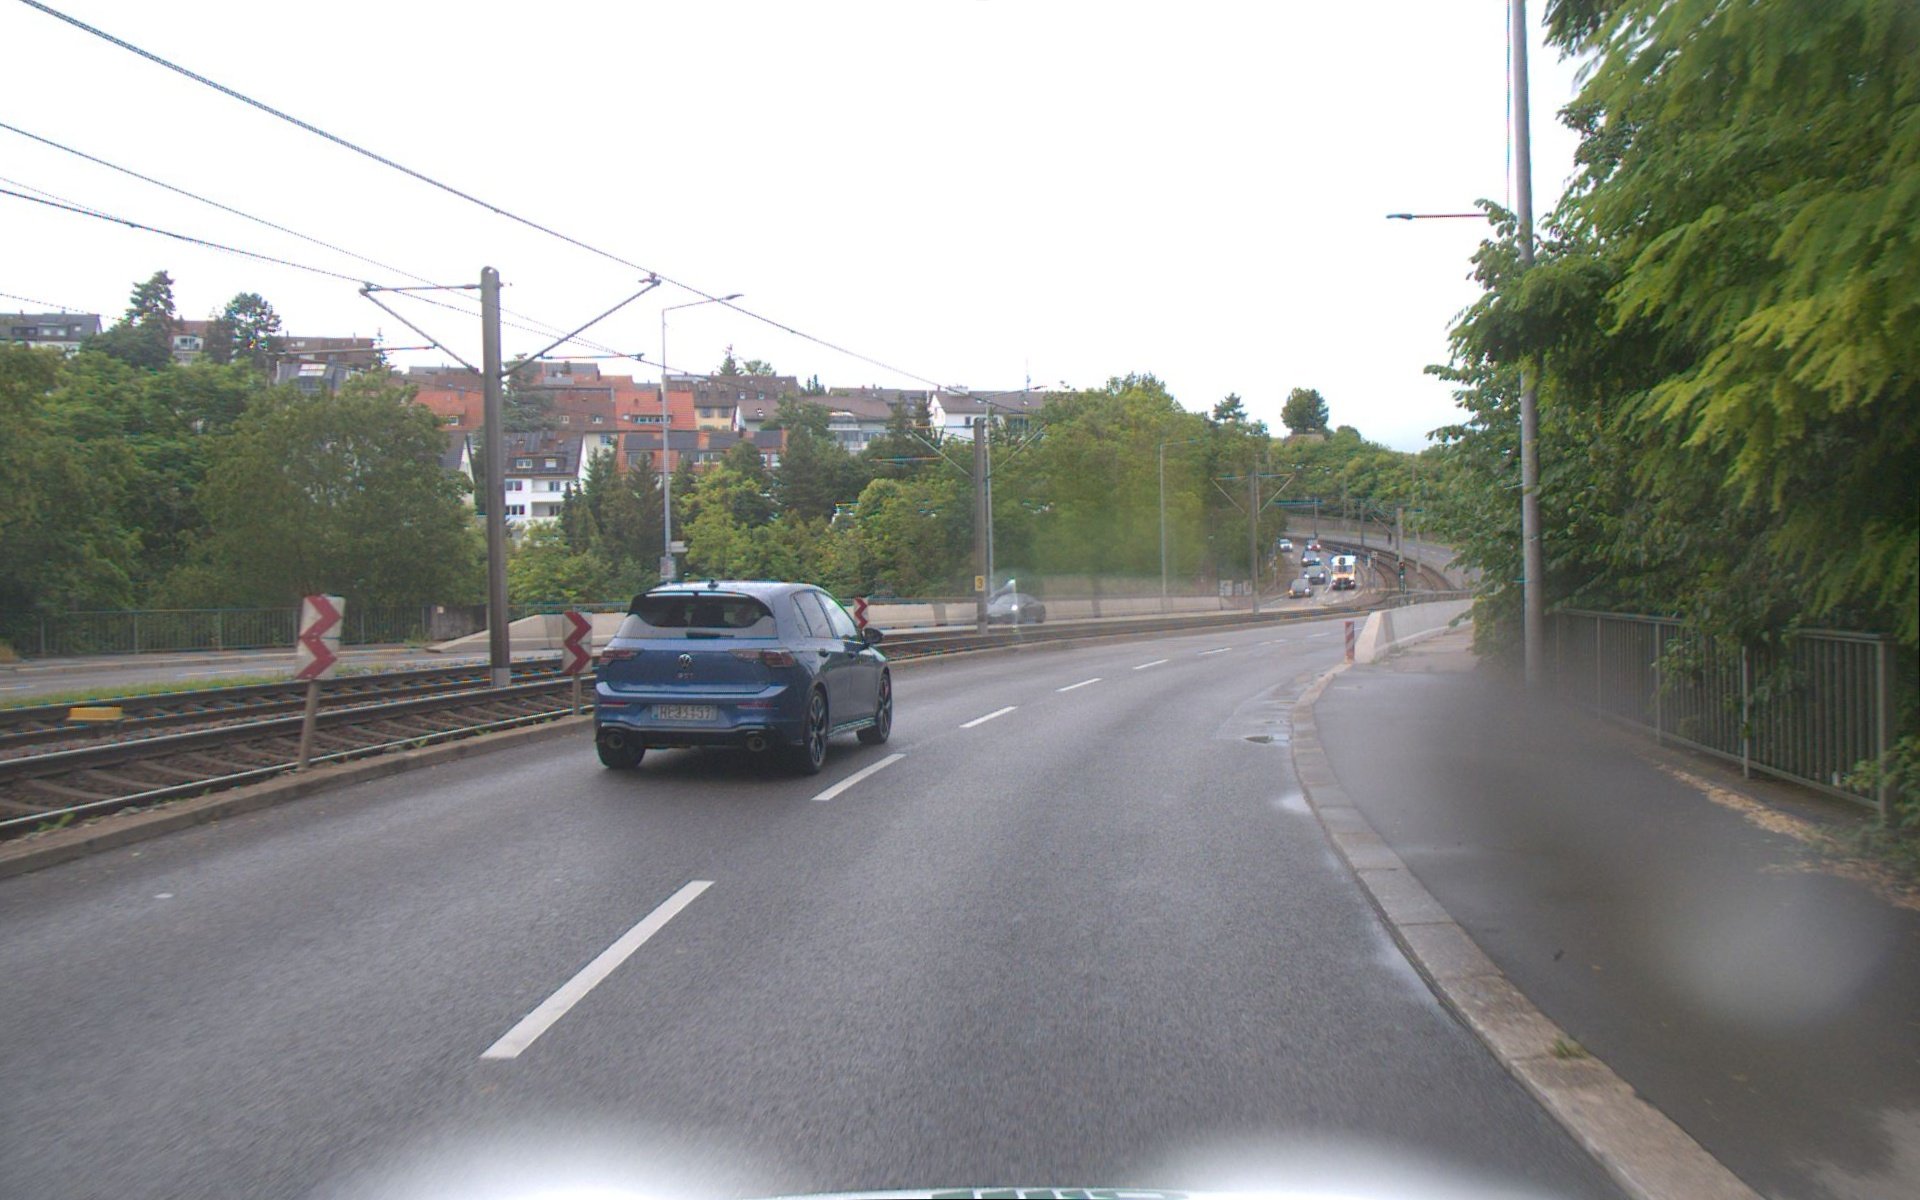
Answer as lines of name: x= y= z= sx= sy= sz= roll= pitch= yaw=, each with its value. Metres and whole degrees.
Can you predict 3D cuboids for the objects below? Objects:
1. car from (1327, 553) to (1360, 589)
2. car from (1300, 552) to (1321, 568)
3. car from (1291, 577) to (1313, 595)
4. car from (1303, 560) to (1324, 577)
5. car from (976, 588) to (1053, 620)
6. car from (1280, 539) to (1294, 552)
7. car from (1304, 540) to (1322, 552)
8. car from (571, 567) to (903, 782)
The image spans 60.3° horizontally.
car: x=34.802 y=-2.596 z=150.332 sx=2.338 sy=3.170 sz=6.362 roll=0 pitch=0 yaw=7
car: x=39.892 y=-4.542 z=188.202 sx=1.927 sy=1.625 sz=5.188 roll=-2 pitch=-1 yaw=8
car: x=29.252 y=-1.225 z=141.576 sx=1.777 sy=1.461 sz=4.745 roll=-1 pitch=1 yaw=12
car: x=34.086 y=-3.029 z=159.539 sx=1.856 sy=1.625 sz=4.736 roll=-2 pitch=0 yaw=11
car: x=2.412 y=0.163 z=72.349 sx=1.799 sy=1.337 sz=4.617 roll=-2 pitch=-1 yaw=23
car: x=43.626 y=-7.266 z=220.482 sx=1.782 sy=1.541 sz=4.533 roll=-1 pitch=0 yaw=12
car: x=45.789 y=-6.969 z=214.476 sx=1.568 sy=1.519 sz=3.018 roll=-3 pitch=1 yaw=0
car: x=-1.685 y=0.514 z=13.862 sx=1.726 sy=1.527 sz=4.003 roll=0 pitch=0 yaw=8
